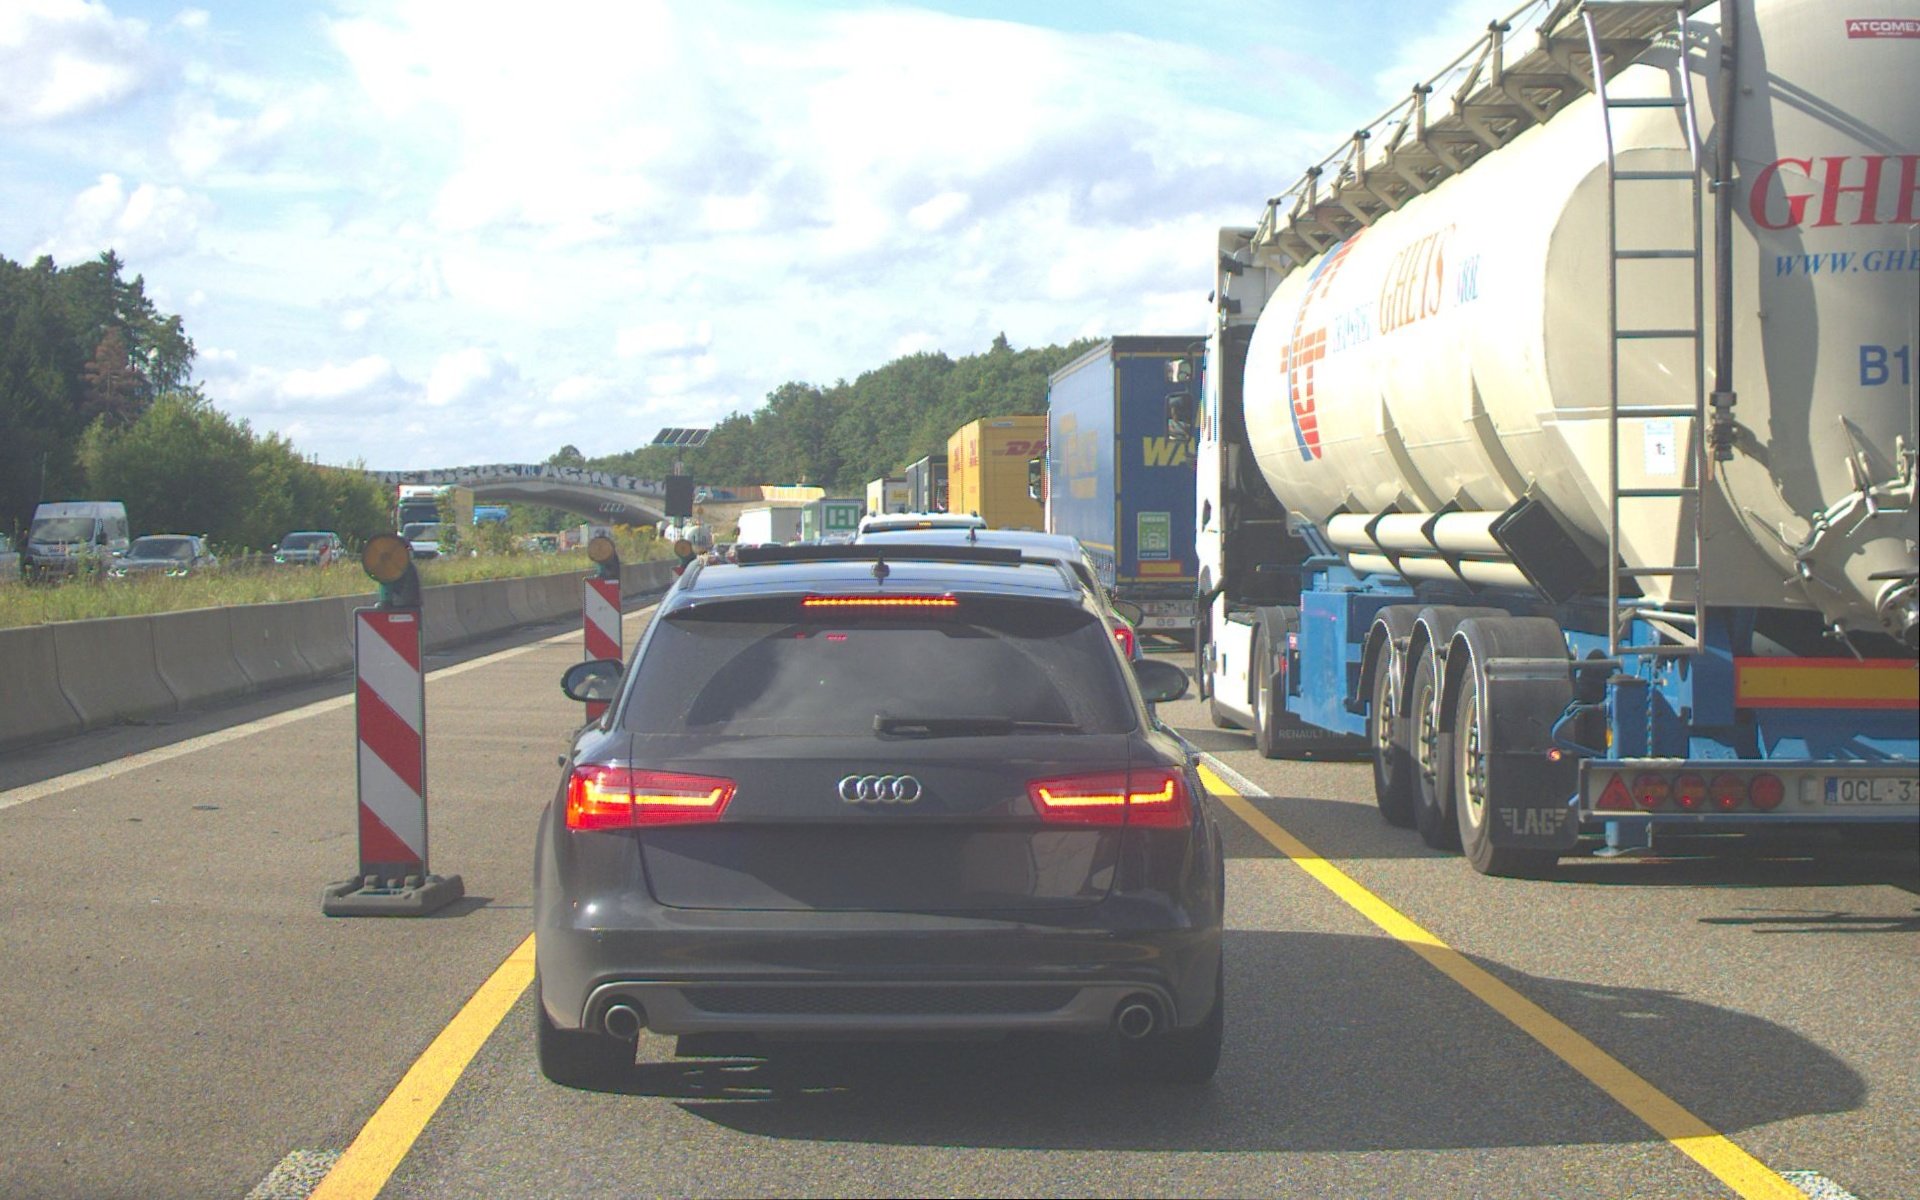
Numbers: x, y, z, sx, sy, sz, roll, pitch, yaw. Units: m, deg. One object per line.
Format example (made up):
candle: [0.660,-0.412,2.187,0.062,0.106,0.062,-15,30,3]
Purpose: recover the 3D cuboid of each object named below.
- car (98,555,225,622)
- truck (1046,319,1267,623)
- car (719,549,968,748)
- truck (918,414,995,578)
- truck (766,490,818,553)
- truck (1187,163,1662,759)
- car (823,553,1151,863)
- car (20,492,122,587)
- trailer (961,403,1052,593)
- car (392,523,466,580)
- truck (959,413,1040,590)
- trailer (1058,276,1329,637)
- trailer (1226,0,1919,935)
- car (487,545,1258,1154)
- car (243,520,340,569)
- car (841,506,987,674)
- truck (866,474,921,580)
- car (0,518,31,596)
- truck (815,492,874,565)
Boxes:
car: [-17.315,-0.259,74.730,1.779,1.382,4.310,1,1,-1]
truck: [2.939,-1.905,53.604,2.806,4.354,7.792,1,1,-1]
car: [-0.858,0.329,26.351,1.751,1.392,3.608,1,1,-1]
truck: [-0.157,-3.233,108.153,1.993,4.897,9.563,1,1,-2]
truck: [-11.519,-5.359,234.617,3.303,4.160,9.704,1,1,-4]
truck: [3.312,-0.963,25.987,2.659,3.958,5.779,1,1,-1]
car: [0.105,0.493,17.859,1.524,1.434,3.285,1,1,-1]
car: [-25.674,-1.745,99.440,2.250,2.634,5.021,1,1,-8]
trailer: [0.963,-2.141,74.324,1.616,3.905,6.490,1,1,-2]
car: [-19.550,-1.783,126.777,1.993,2.007,4.832,1,1,-1]
truck: [0.868,-2.187,77.929,1.609,3.883,4.072,1,0,-2]
trailer: [3.024,-1.816,47.567,2.805,4.398,10.433,1,1,-1]
trailer: [3.416,-0.824,19.052,2.644,3.929,12.598,1,1,-1]
car: [-0.238,0.582,10.289,1.848,1.458,4.000,0,1,-1]
car: [-19.266,-1.587,99.224,1.958,1.358,4.288,1,1,-1]
car: [-0.528,-0.127,39.429,1.581,1.830,3.112,1,1,-1]
truck: [-2.729,-2.979,141.656,2.137,4.243,7.072,1,1,-1]
car: [-25.735,-1.126,89.585,1.993,2.007,4.000,1,1,-1]
truck: [-6.875,-4.206,203.590,3.303,4.160,9.703,0,1,-3]
